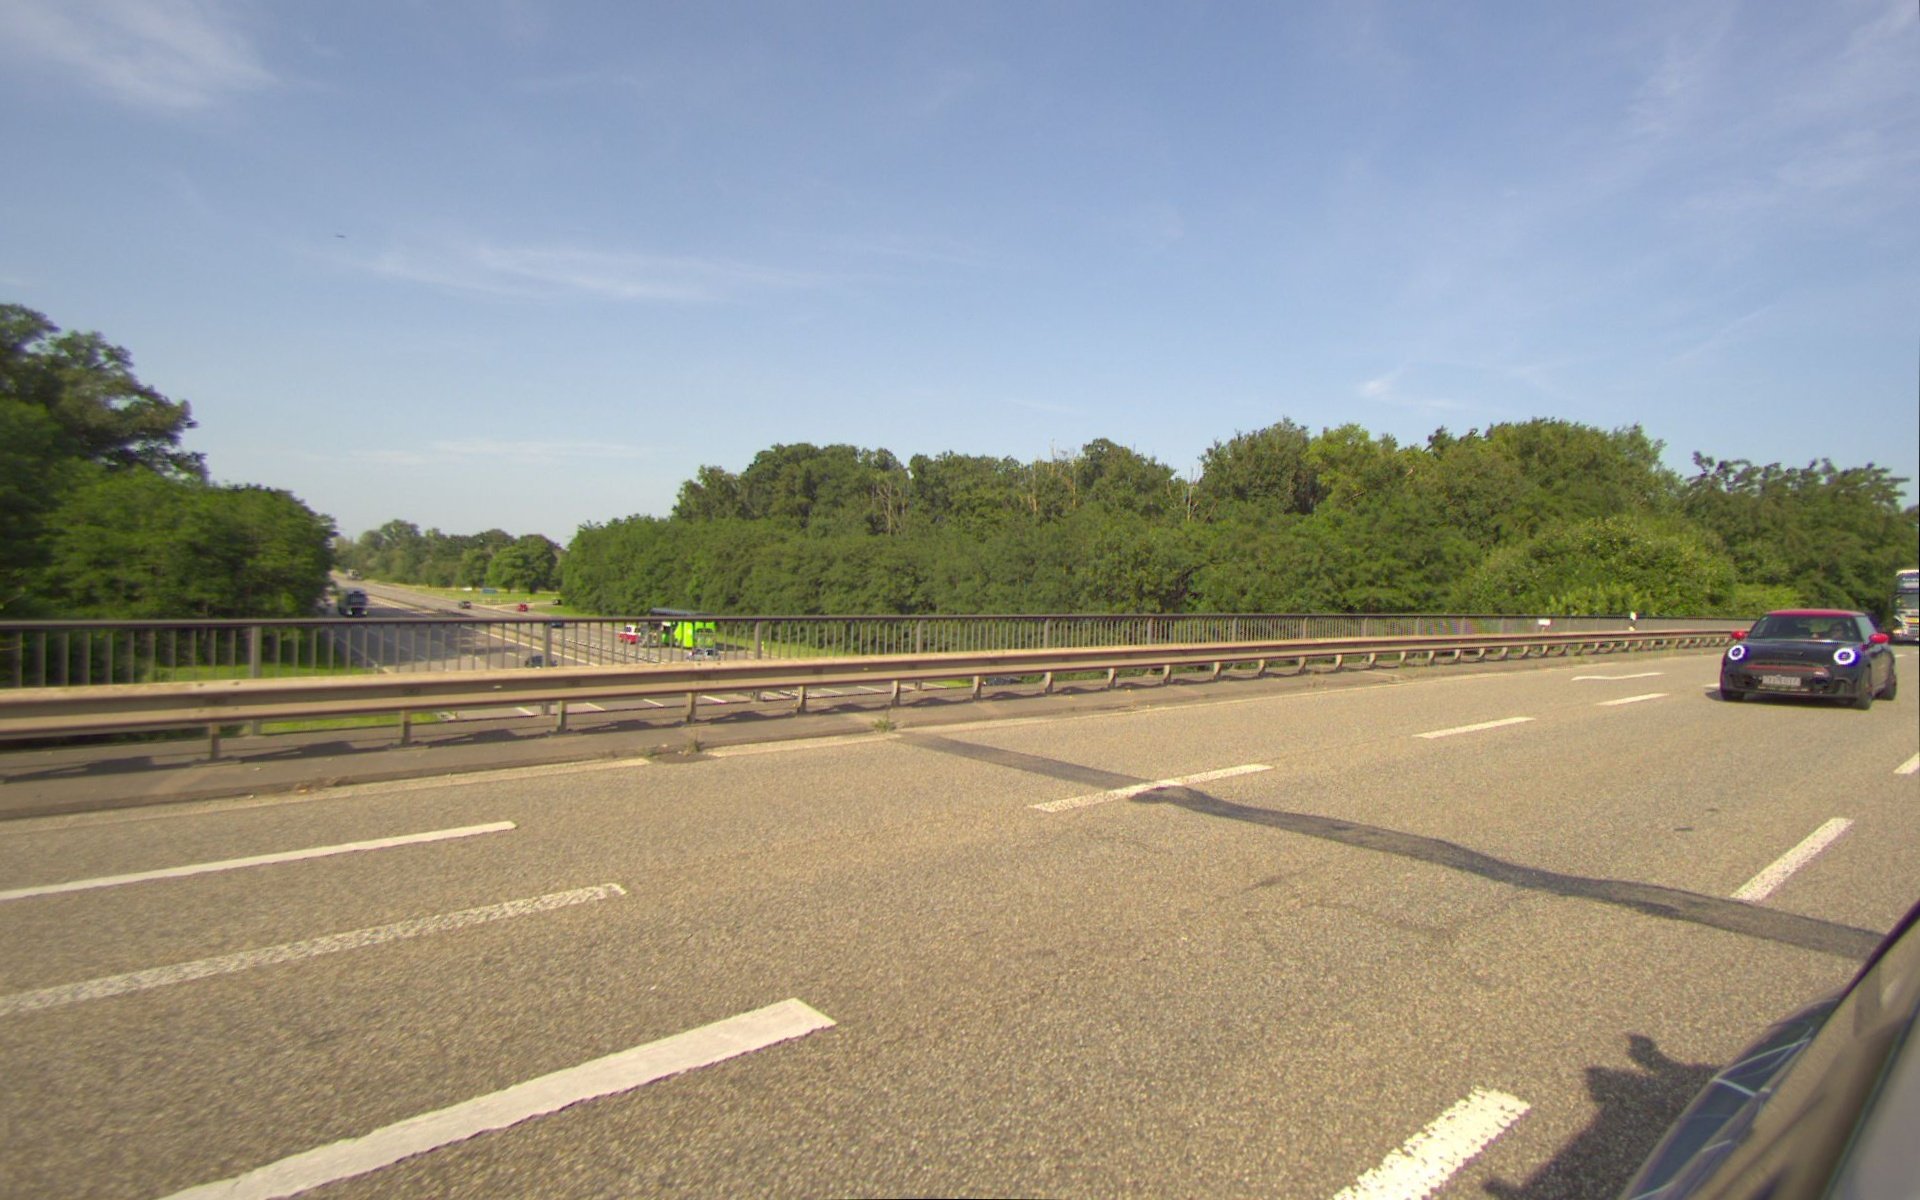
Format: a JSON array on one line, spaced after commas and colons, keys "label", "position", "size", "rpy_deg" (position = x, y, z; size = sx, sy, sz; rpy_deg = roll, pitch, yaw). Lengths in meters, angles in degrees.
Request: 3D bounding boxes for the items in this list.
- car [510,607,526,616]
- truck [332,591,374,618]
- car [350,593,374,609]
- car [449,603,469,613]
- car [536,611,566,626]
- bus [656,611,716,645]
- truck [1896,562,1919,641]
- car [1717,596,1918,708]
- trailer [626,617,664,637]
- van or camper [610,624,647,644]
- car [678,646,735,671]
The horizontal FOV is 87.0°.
[{"label": "car", "position": [-82.837, 2.116, 189.592], "size": [2.344, 1.684, 5.138], "rpy_deg": [-1, 0, -30]}, {"label": "truck", "position": [-90.186, 0.634, 150.225], "size": [3.578, 3.898, 11.728], "rpy_deg": [-1, 0, -40]}, {"label": "car", "position": [-125.234, 0.177, 211.932], "size": [2.972, 3.266, 7.507], "rpy_deg": [-1, 0, -40]}, {"label": "car", "position": [-93.008, 1.479, 187.797], "size": [2.348, 1.684, 5.130], "rpy_deg": [-1, 0, -37]}, {"label": "car", "position": [-54.782, 2.459, 135.484], "size": [2.417, 1.764, 5.171], "rpy_deg": [-1, 0, -37]}, {"label": "bus", "position": [-29.345, 2.942, 108.058], "size": [2.679, 3.291, 9.763], "rpy_deg": [-1, 0, -37]}, {"label": "truck", "position": [54.868, -0.025, 55.808], "size": [14.310, 4.069, 3.194], "rpy_deg": [-1, 0, -41]}, {"label": "car", "position": [13.444, 0.706, 15.801], "size": [3.805, 1.486, 1.823], "rpy_deg": [-1, 0, -41]}, {"label": "trailer", "position": [-33.425, 2.827, 107.285], "size": [2.348, 1.984, 4.967], "rpy_deg": [-1, 0, -37]}, {"label": "van or camper", "position": [-36.532, 3.733, 111.355], "size": [2.348, 1.984, 5.130], "rpy_deg": [-1, 0, -37]}, {"label": "car", "position": [-21.522, 4.930, 85.633], "size": [2.652, 1.764, 5.681], "rpy_deg": [-1, 0, -37]}]
